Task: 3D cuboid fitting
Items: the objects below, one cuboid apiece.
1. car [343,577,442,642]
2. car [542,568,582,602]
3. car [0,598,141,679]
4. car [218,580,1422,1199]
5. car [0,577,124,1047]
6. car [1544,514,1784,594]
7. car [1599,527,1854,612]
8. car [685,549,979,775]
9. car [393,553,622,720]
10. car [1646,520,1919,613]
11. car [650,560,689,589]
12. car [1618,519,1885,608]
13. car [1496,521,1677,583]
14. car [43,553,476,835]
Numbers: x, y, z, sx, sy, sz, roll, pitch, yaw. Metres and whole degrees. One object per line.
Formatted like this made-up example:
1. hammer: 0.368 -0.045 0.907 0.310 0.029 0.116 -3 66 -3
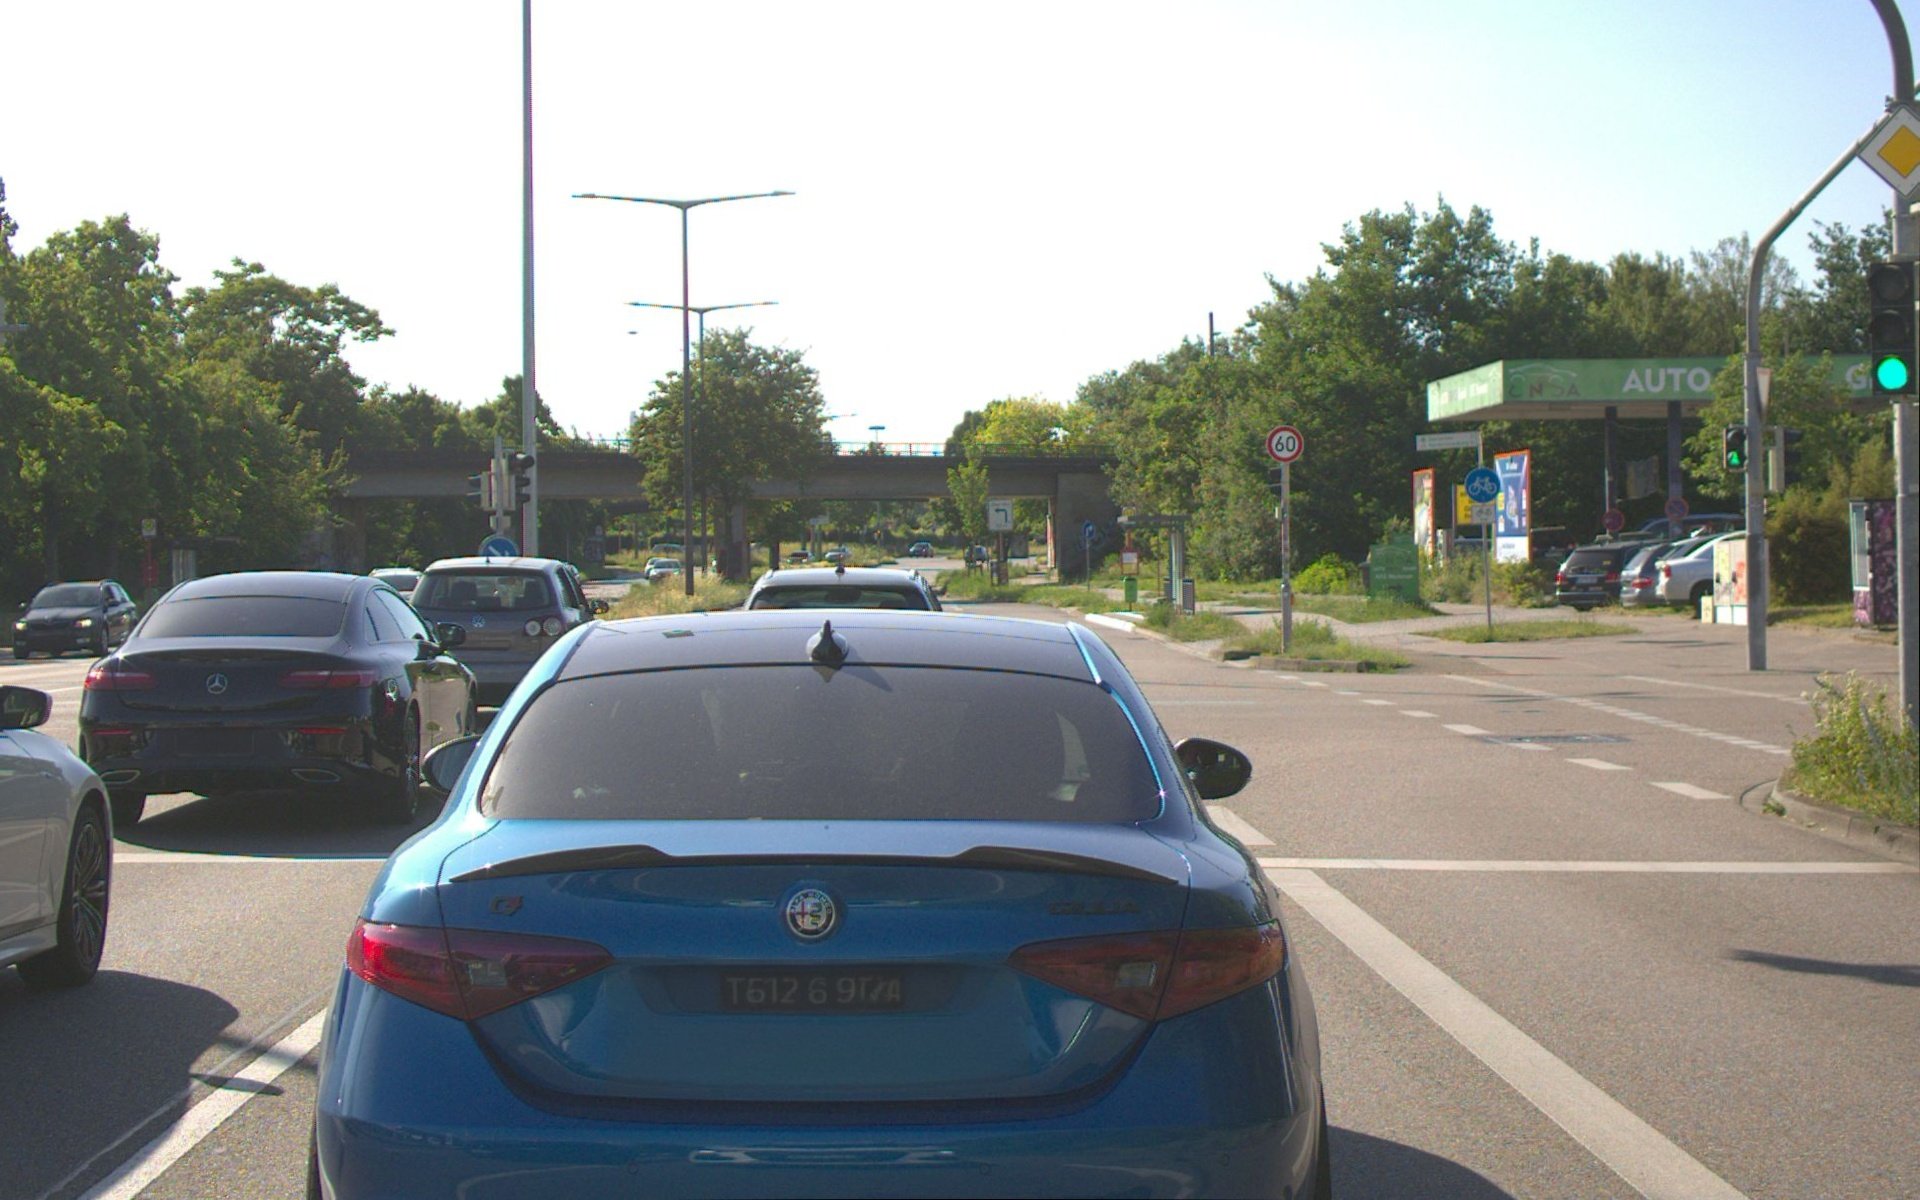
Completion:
1. car: -13.778 0.223 83.666 1.759 1.485 3.837 -2 0 0
2. car: -19.795 -0.735 171.071 1.609 1.641 3.463 1 0 -1
3. car: -17.755 0.738 68.593 1.759 1.485 4.478 -2 0 0
4. car: -0.287 0.684 7.654 1.895 1.413 4.403 1 0 -2
5. car: -3.901 0.656 10.370 1.785 1.485 4.403 1 0 -2
6. car: 14.378 -0.937 70.386 4.489 1.449 1.858 -2 0 1
7. car: 14.827 -0.595 66.635 4.489 1.449 1.858 -2 0 1
8. car: -0.879 0.391 24.092 1.850 1.413 4.403 1 0 -2
9. car: -4.328 0.329 33.446 1.759 1.485 4.403 1 0 -2
10. car: 14.649 -0.594 61.137 4.489 1.449 1.858 -2 0 1
11. car: -15.887 -1.388 188.123 1.759 1.485 4.478 -2 0 0
12. car: 14.659 -0.679 63.822 4.489 1.449 1.858 -2 0 1
13. car: 17.027 -1.299 93.567 4.551 1.485 1.765 -2 0 1
14. car: -4.062 0.499 20.637 1.796 1.485 4.476 1 0 -2
